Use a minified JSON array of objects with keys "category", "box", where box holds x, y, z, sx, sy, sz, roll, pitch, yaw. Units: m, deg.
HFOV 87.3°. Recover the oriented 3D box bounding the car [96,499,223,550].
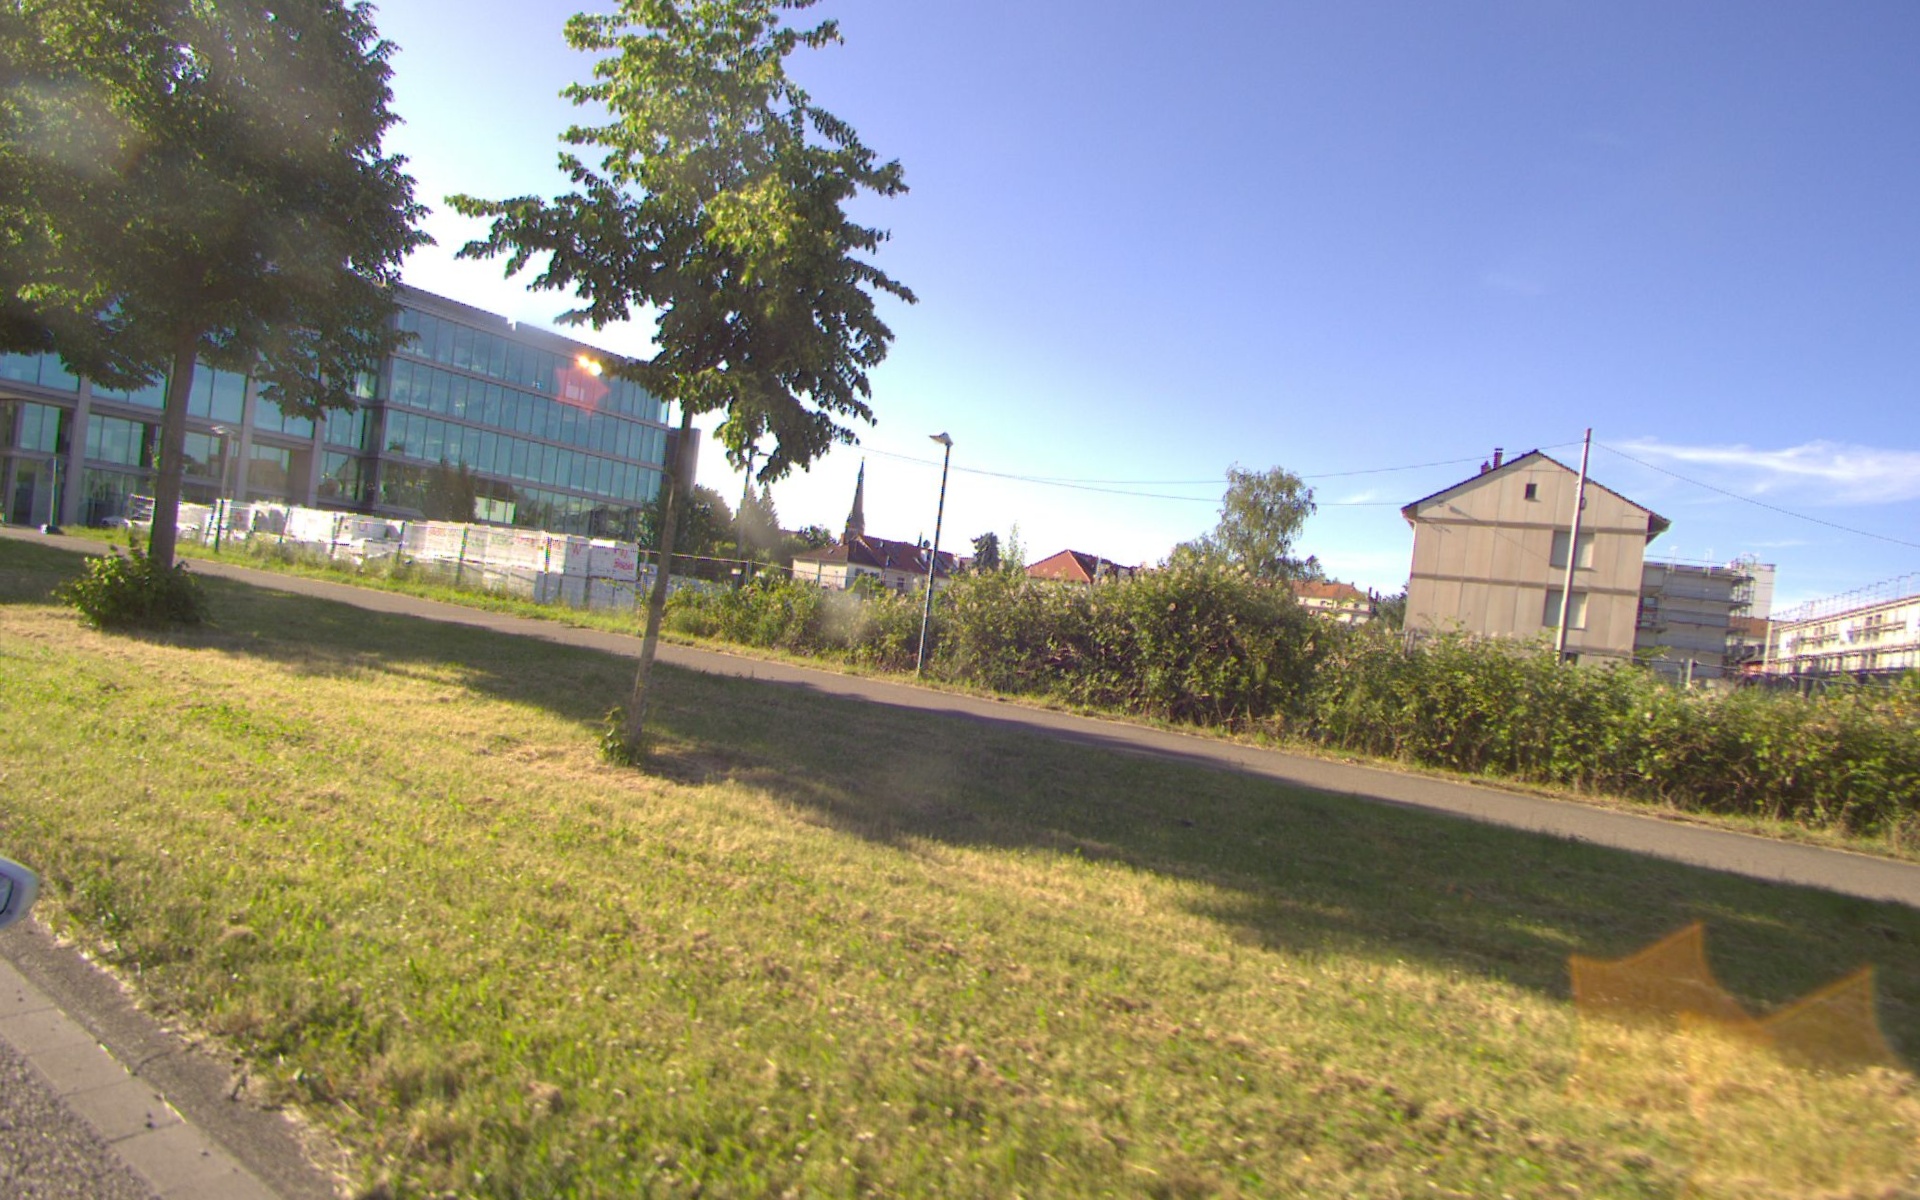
[{"category":"car","box":[-44.404,-4.182,55.913,1.909,2.005,5.067,7,-1,37]}]
